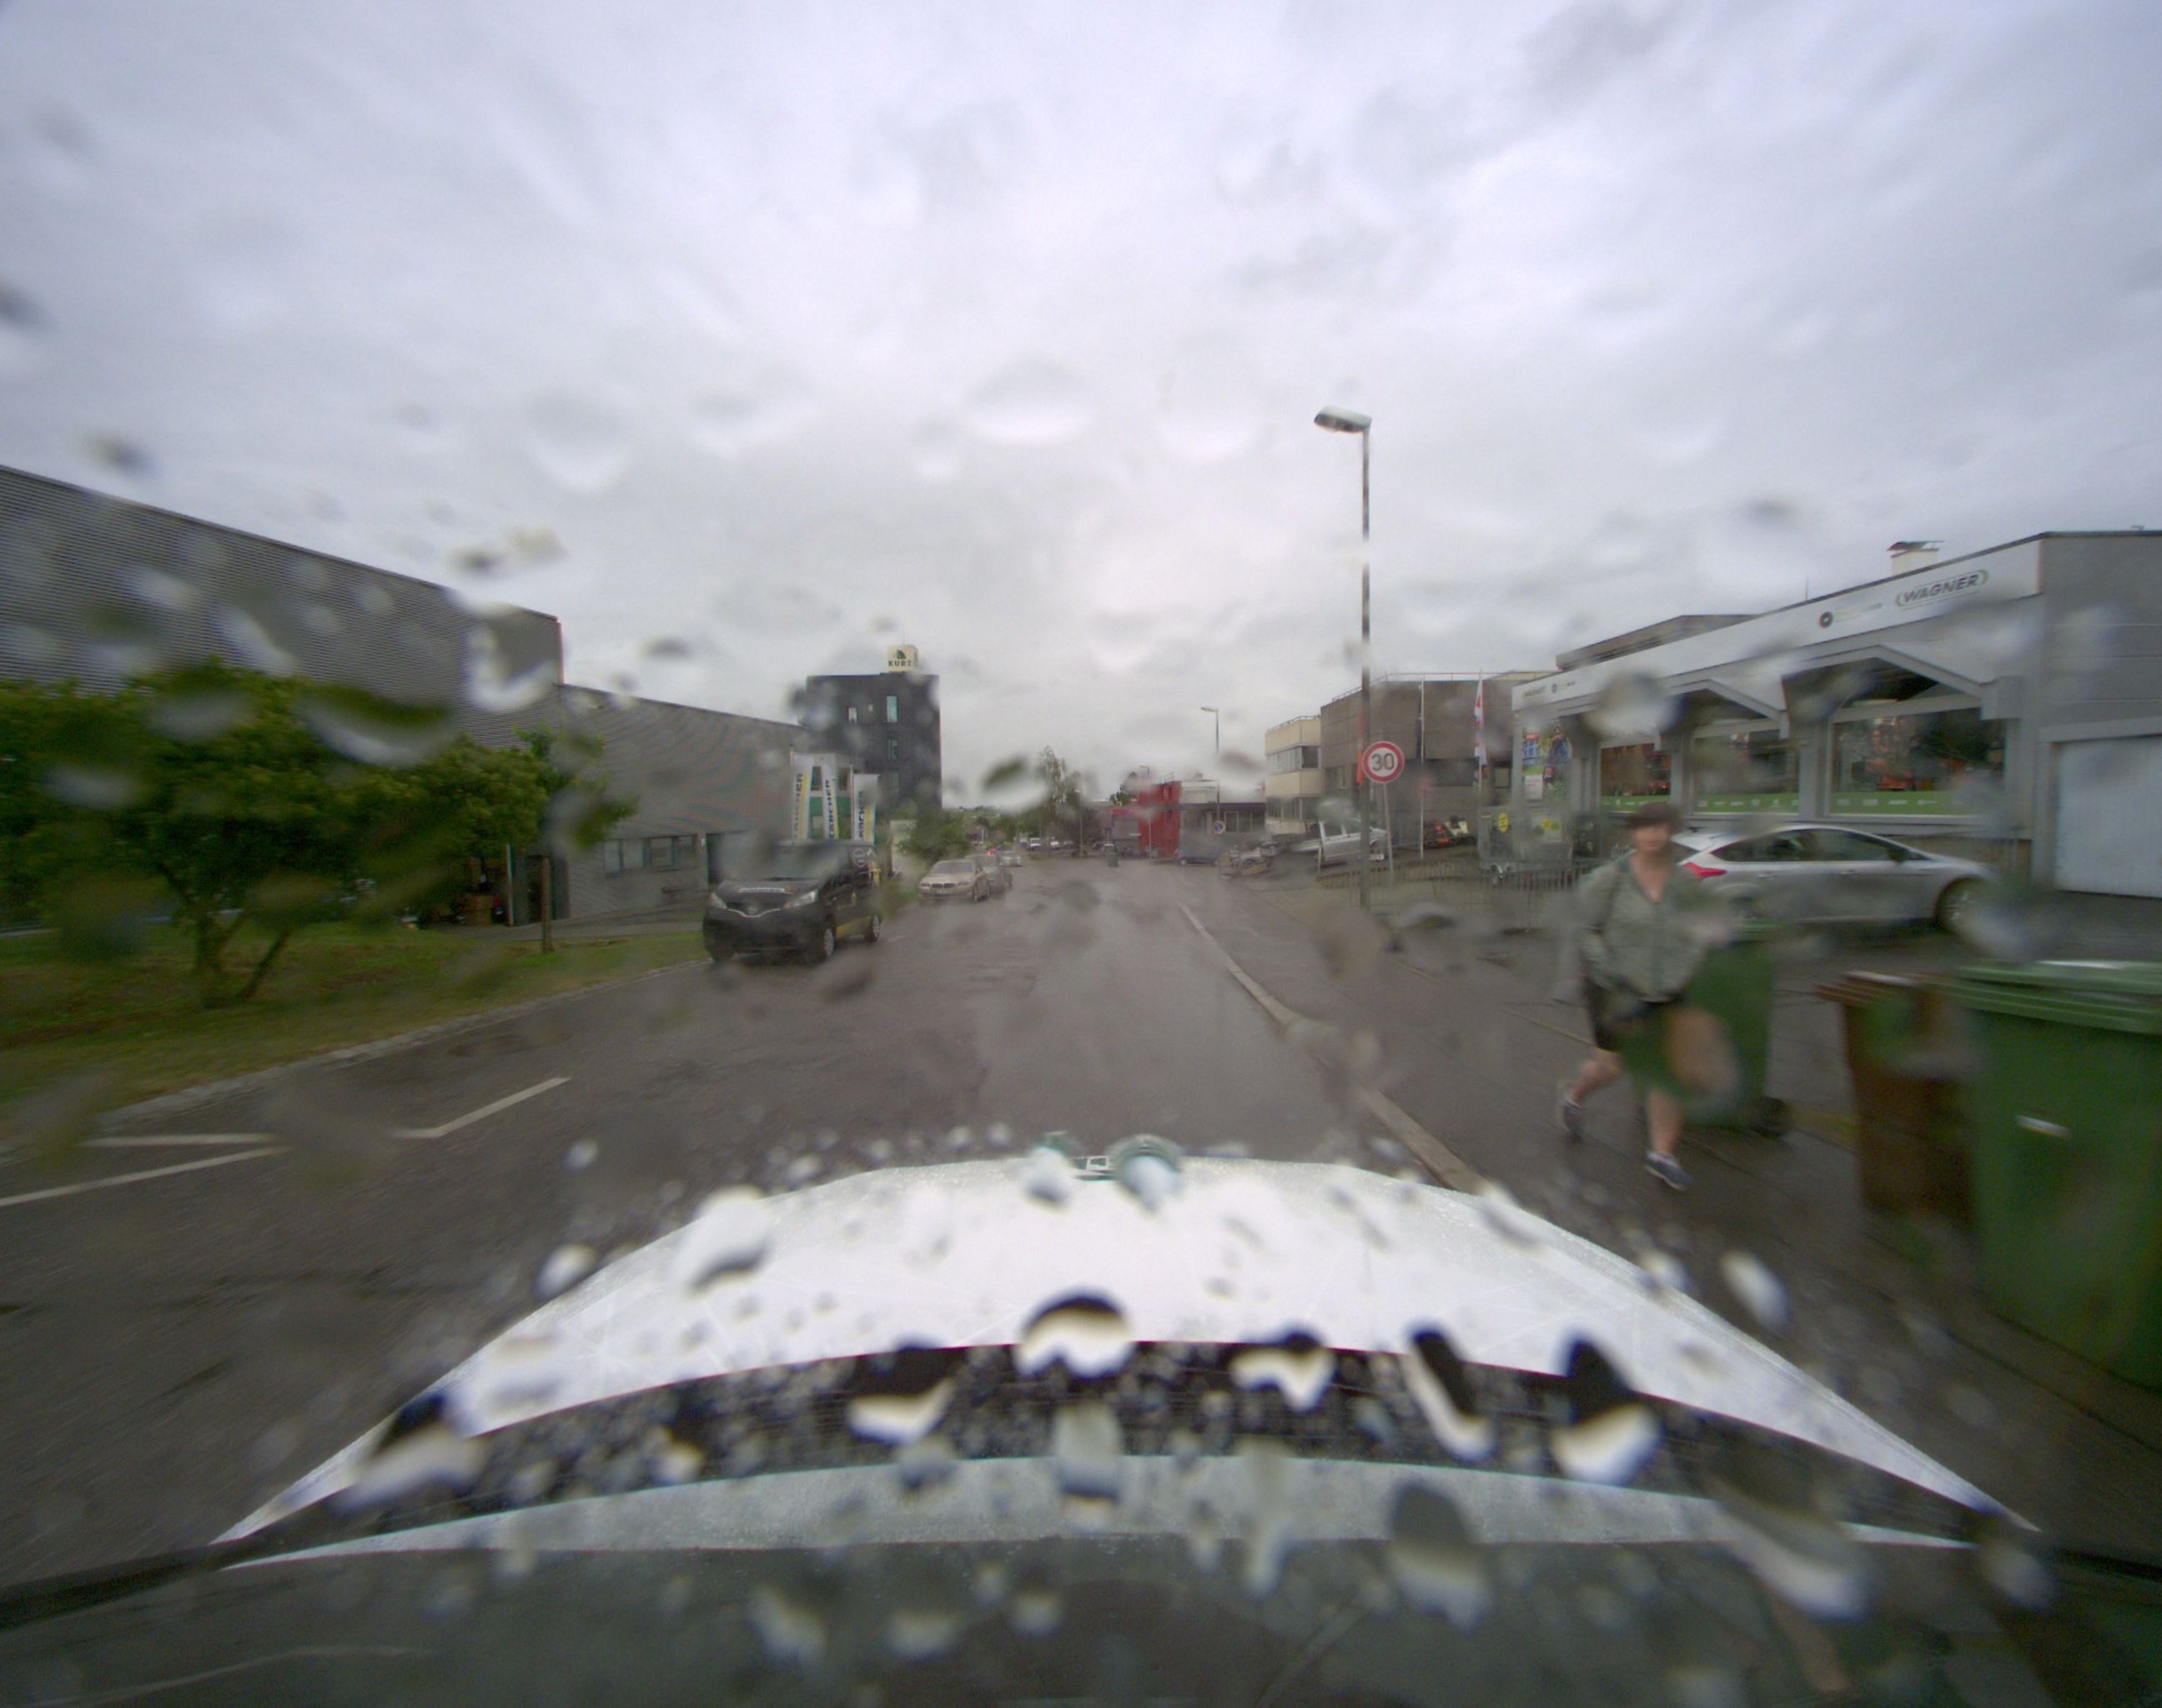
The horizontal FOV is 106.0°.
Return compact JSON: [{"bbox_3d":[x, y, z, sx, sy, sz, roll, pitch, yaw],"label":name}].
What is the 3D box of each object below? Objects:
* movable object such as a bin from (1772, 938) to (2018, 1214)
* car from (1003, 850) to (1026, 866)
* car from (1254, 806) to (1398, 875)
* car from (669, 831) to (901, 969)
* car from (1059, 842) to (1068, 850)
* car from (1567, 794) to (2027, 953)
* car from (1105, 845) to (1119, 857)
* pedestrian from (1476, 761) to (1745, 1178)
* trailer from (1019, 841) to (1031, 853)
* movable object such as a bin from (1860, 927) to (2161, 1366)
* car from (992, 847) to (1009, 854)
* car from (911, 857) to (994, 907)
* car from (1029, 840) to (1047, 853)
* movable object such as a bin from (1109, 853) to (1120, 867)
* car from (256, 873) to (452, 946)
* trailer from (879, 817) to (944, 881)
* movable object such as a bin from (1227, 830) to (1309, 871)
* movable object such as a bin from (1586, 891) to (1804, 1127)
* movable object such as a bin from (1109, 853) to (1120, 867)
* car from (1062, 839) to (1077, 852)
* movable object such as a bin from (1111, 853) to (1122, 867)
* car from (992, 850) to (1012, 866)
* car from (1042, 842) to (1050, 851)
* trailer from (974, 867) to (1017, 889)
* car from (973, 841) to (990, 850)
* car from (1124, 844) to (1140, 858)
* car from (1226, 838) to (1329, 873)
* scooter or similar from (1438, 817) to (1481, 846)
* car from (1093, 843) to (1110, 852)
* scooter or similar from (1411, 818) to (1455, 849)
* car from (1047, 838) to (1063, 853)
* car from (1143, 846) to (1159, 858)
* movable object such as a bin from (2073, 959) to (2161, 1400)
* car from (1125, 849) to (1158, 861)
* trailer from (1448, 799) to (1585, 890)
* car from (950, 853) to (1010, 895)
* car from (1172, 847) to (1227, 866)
[{"bbox_3d":[3.261,0.857,3.302,0.470,0.967,0.514,-1,0,2],"label":"movable object such as a bin"},{"bbox_3d":[-6.749,0.429,82.219,1.771,1.513,4.129,-2,0,-11],"label":"car"},{"bbox_3d":[10.399,-0.556,34.865,5.282,2.013,2.221,-9,0,0],"label":"car"},{"bbox_3d":[-4.550,0.628,13.454,1.908,1.831,4.849,-1,0,2],"label":"car"},{"bbox_3d":[-3.159,-1.372,147.140,1.397,1.326,2.695,-2,0,-6],"label":"car"},{"bbox_3d":[8.923,0.233,10.466,4.108,1.574,2.003,-4,-1,-1],"label":"car"},{"bbox_3d":[4.030,-0.385,105.686,1.692,1.475,3.999,-2,0,0],"label":"car"},{"bbox_3d":[2.460,0.494,3.889,0.734,1.767,0.809,-1,0,2],"label":"pedestrian"},{"bbox_3d":[-9.943,-1.233,144.047,1.851,2.013,3.990,-2,1,-7],"label":"trailer"},{"bbox_3d":[3.011,0.791,2.434,0.740,1.066,0.637,-1,0,1],"label":"movable object such as a bin"},{"bbox_3d":[-18.349,-0.834,185.380,2.474,1.539,3.965,-2,-1,-27],"label":"car"},{"bbox_3d":[-4.284,0.893,28.097,1.949,1.461,5.247,-2,0,0],"label":"car"},{"bbox_3d":[-7.478,-1.302,140.066,2.269,2.014,3.979,-2,-1,-15],"label":"car"},{"bbox_3d":[2.709,0.455,66.458,0.808,1.090,0.540,-2,0,-5],"label":"movable object such as a bin"},{"bbox_3d":[-20.525,1.532,23.072,4.182,1.771,1.941,-1,3,12],"label":"car"},{"bbox_3d":[-11.732,-0.296,56.266,4.132,4.203,2.019,-2,0,38],"label":"trailer"},{"bbox_3d":[10.545,-0.207,46.009,4.240,2.110,1.477,-2,0,0],"label":"movable object such as a bin"},{"bbox_3d":[3.263,0.778,4.403,0.723,1.113,0.707,-1,0,16],"label":"movable object such as a bin"},{"bbox_3d":[2.741,0.460,65.884,0.774,1.076,0.582,-2,0,-5],"label":"movable object such as a bin"},{"bbox_3d":[-2.037,-1.469,141.533,2.143,2.014,3.930,-2,0,-6],"label":"car"},{"bbox_3d":[2.836,0.457,65.237,0.805,1.092,0.708,-2,0,-5],"label":"movable object such as a bin"},{"bbox_3d":[-9.087,0.433,93.203,1.702,1.609,3.983,-3,1,-12],"label":"car"},{"bbox_3d":[-6.305,-1.308,146.109,1.288,1.424,2.540,-2,-1,-6],"label":"car"},{"bbox_3d":[-4.027,1.130,38.855,1.675,0.888,3.896,-2,0,-1],"label":"trailer"},{"bbox_3d":[-26.729,-2.196,219.262,4.219,2.226,2.003,-2,-1,6],"label":"car"},{"bbox_3d":[6.613,-0.376,106.381,1.733,1.653,3.999,-2,0,0],"label":"car"},{"bbox_3d":[10.593,0.063,44.116,5.076,1.613,1.924,-2,1,-1],"label":"car"},{"bbox_3d":[16.756,-0.993,36.108,0.999,1.155,1.847,-5,0,3],"label":"scooter or similar"},{"bbox_3d":[3.229,-1.016,127.784,2.544,1.352,1.240,-2,0,-5],"label":"car"},{"bbox_3d":[15.539,-0.913,36.053,1.060,1.224,2.067,-5,2,3],"label":"scooter or similar"},{"bbox_3d":[-4.478,-1.411,140.532,2.191,2.459,3.989,-2,-1,-8],"label":"car"},{"bbox_3d":[9.087,-0.288,105.413,1.723,1.422,3.999,-2,0,0],"label":"car"},{"bbox_3d":[2.952,0.785,1.700,0.769,1.030,0.808,-1,0,2],"label":"movable object such as a bin"},{"bbox_3d":[6.504,0.073,87.873,3.387,1.163,1.792,-1,0,1],"label":"car"},{"bbox_3d":[12.903,-0.307,24.483,1.880,2.416,4.310,-2,1,2],"label":"trailer"},{"bbox_3d":[-4.179,0.792,34.476,1.952,1.577,4.837,-2,0,-1],"label":"car"},{"bbox_3d":[8.823,0.174,60.978,3.883,1.383,1.820,0,-1,-1],"label":"car"}]
